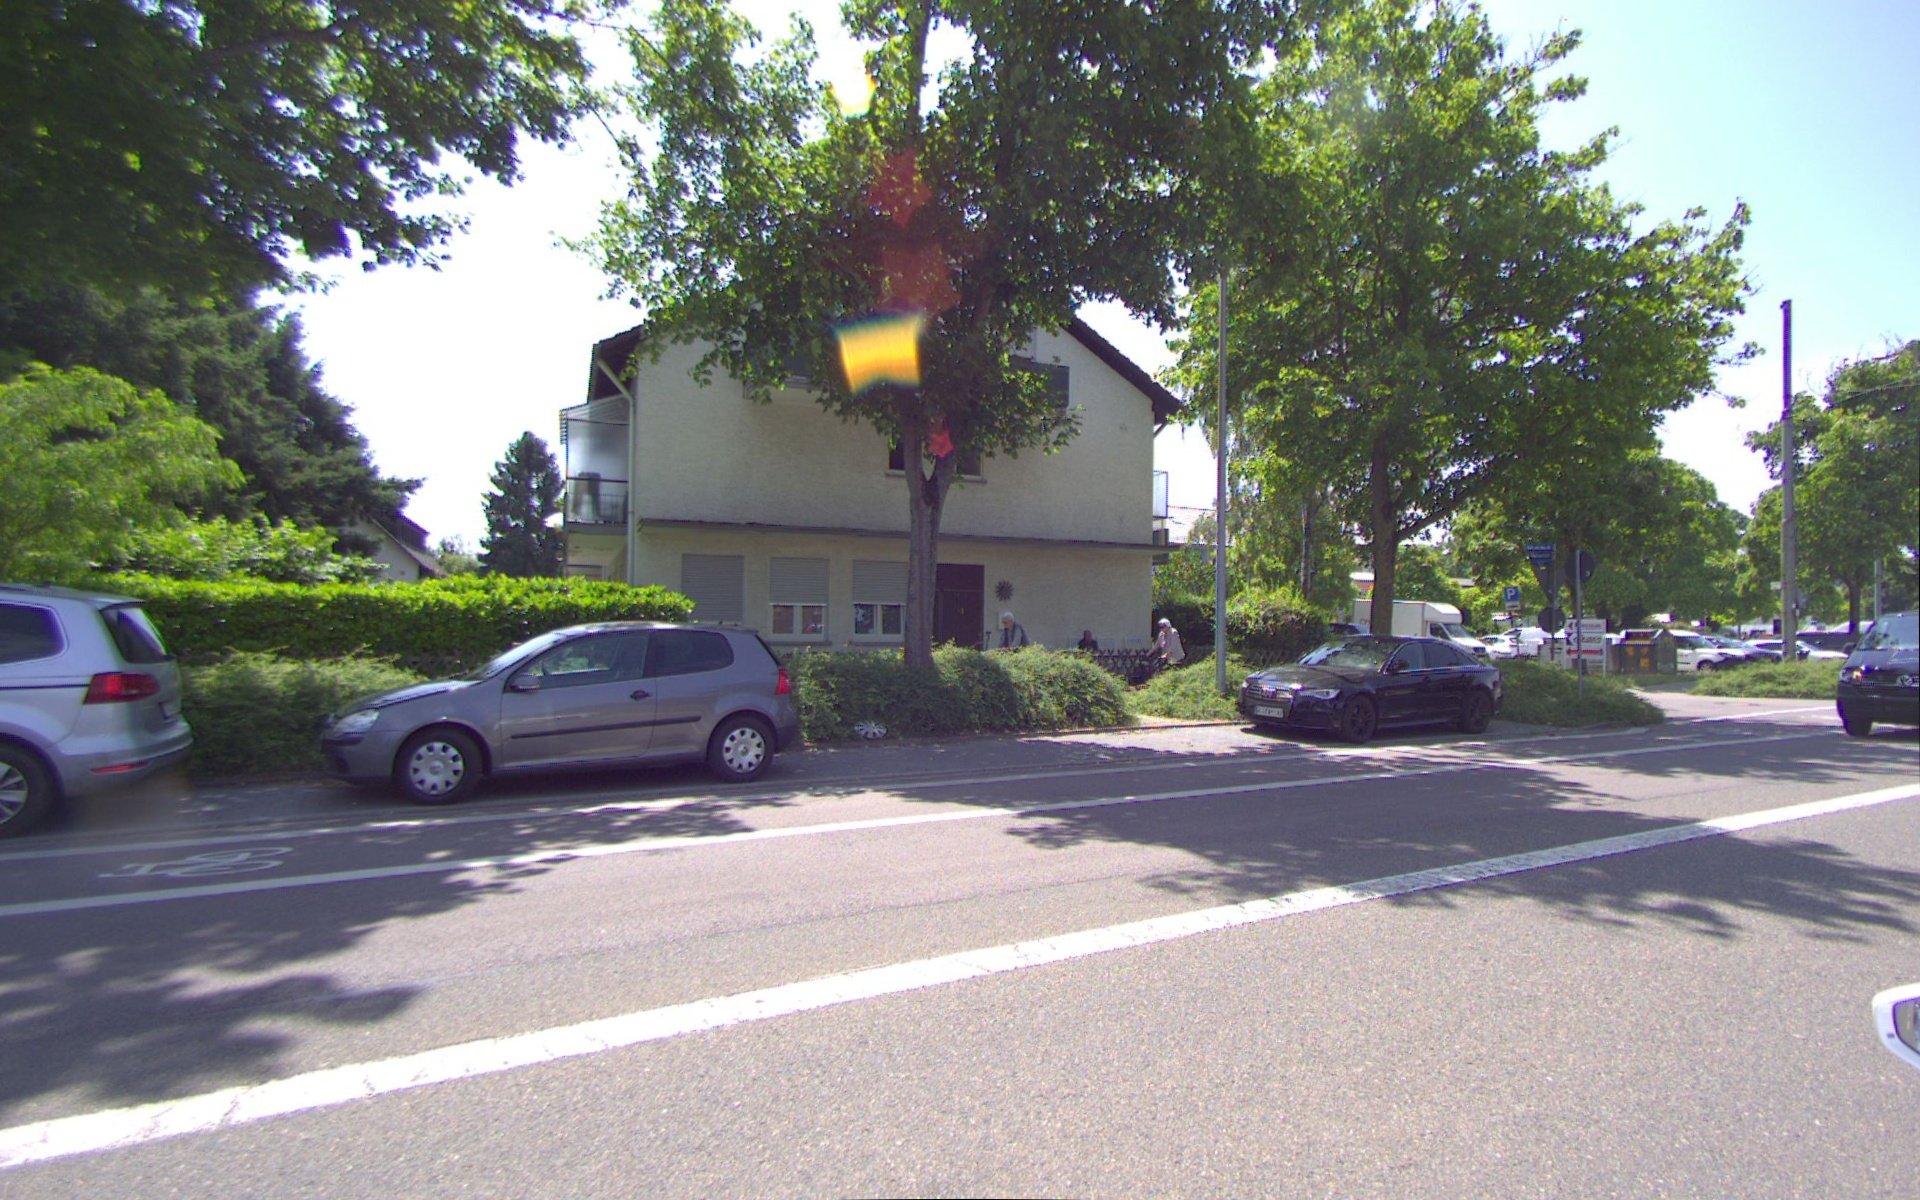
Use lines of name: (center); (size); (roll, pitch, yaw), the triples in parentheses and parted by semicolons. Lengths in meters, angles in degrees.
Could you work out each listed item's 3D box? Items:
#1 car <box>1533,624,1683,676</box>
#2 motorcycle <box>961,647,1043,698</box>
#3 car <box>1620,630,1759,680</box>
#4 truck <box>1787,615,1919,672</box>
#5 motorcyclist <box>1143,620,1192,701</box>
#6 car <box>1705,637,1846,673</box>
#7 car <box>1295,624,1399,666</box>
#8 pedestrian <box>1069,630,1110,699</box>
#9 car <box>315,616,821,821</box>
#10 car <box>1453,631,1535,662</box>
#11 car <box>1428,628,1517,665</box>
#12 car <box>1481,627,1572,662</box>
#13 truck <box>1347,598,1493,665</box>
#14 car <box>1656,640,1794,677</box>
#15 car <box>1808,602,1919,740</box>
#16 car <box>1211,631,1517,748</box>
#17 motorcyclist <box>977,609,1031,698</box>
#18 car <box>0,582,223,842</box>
car: (24.808, 1.863, 38.588); (2.040, 1.881, 4.421); (2, -2, -34)
motorcycle: (0.751, 1.274, 17.803); (1.354, 0.837, 0.523); (1, 1, -29)
car: (29.179, 2.162, 40.318); (1.652, 1.860, 4.251); (1, -2, -27)
truck: (47.143, 2.243, 52.528); (2.402, 2.796, 5.555); (1, -2, -28)
motorcyclist: (4.055, 1.175, 19.625); (0.654, 1.523, 0.583); (1, 2, -29)
car: (37.987, 2.532, 46.923); (2.035, 1.508, 4.737); (1, -2, -31)
car: (18.961, 2.170, 49.381); (1.915, 1.844, 4.689); (1, -1, -27)
pedestrian: (2.921, 1.444, 22.706); (0.599, 1.530, 0.792); (1, -1, -23)
car: (-3.519, 0.955, 9.357); (4.081, 1.506, 1.667); (2, 0, -31)
car: (30.123, 2.608, 56.763); (1.713, 1.597, 3.728); (1, -1, -30)
car: (27.996, 2.512, 54.964); (1.628, 1.844, 4.107); (1, -1, -30)
car: (32.366, 2.542, 57.458); (1.948, 1.844, 4.107); (2, -1, -30)
truck: (23.847, 1.586, 52.453); (2.126, 3.270, 6.941); (1, -1, -31)
car: (31.881, 2.404, 41.960); (2.059, 1.422, 4.171); (2, -2, -34)
car: (15.283, 1.063, 15.563); (4.518, 1.935, 1.909); (2, -3, -31)
car: (6.232, 1.267, 15.322); (4.756, 1.476, 1.884); (2, 0, -32)
motorcyclist: (0.783, 0.932, 17.806); (0.716, 1.523, 0.583); (1, 2, -29)
car: (-8.006, 0.697, 6.772); (4.630, 1.711, 1.962); (2, 0, -29)
